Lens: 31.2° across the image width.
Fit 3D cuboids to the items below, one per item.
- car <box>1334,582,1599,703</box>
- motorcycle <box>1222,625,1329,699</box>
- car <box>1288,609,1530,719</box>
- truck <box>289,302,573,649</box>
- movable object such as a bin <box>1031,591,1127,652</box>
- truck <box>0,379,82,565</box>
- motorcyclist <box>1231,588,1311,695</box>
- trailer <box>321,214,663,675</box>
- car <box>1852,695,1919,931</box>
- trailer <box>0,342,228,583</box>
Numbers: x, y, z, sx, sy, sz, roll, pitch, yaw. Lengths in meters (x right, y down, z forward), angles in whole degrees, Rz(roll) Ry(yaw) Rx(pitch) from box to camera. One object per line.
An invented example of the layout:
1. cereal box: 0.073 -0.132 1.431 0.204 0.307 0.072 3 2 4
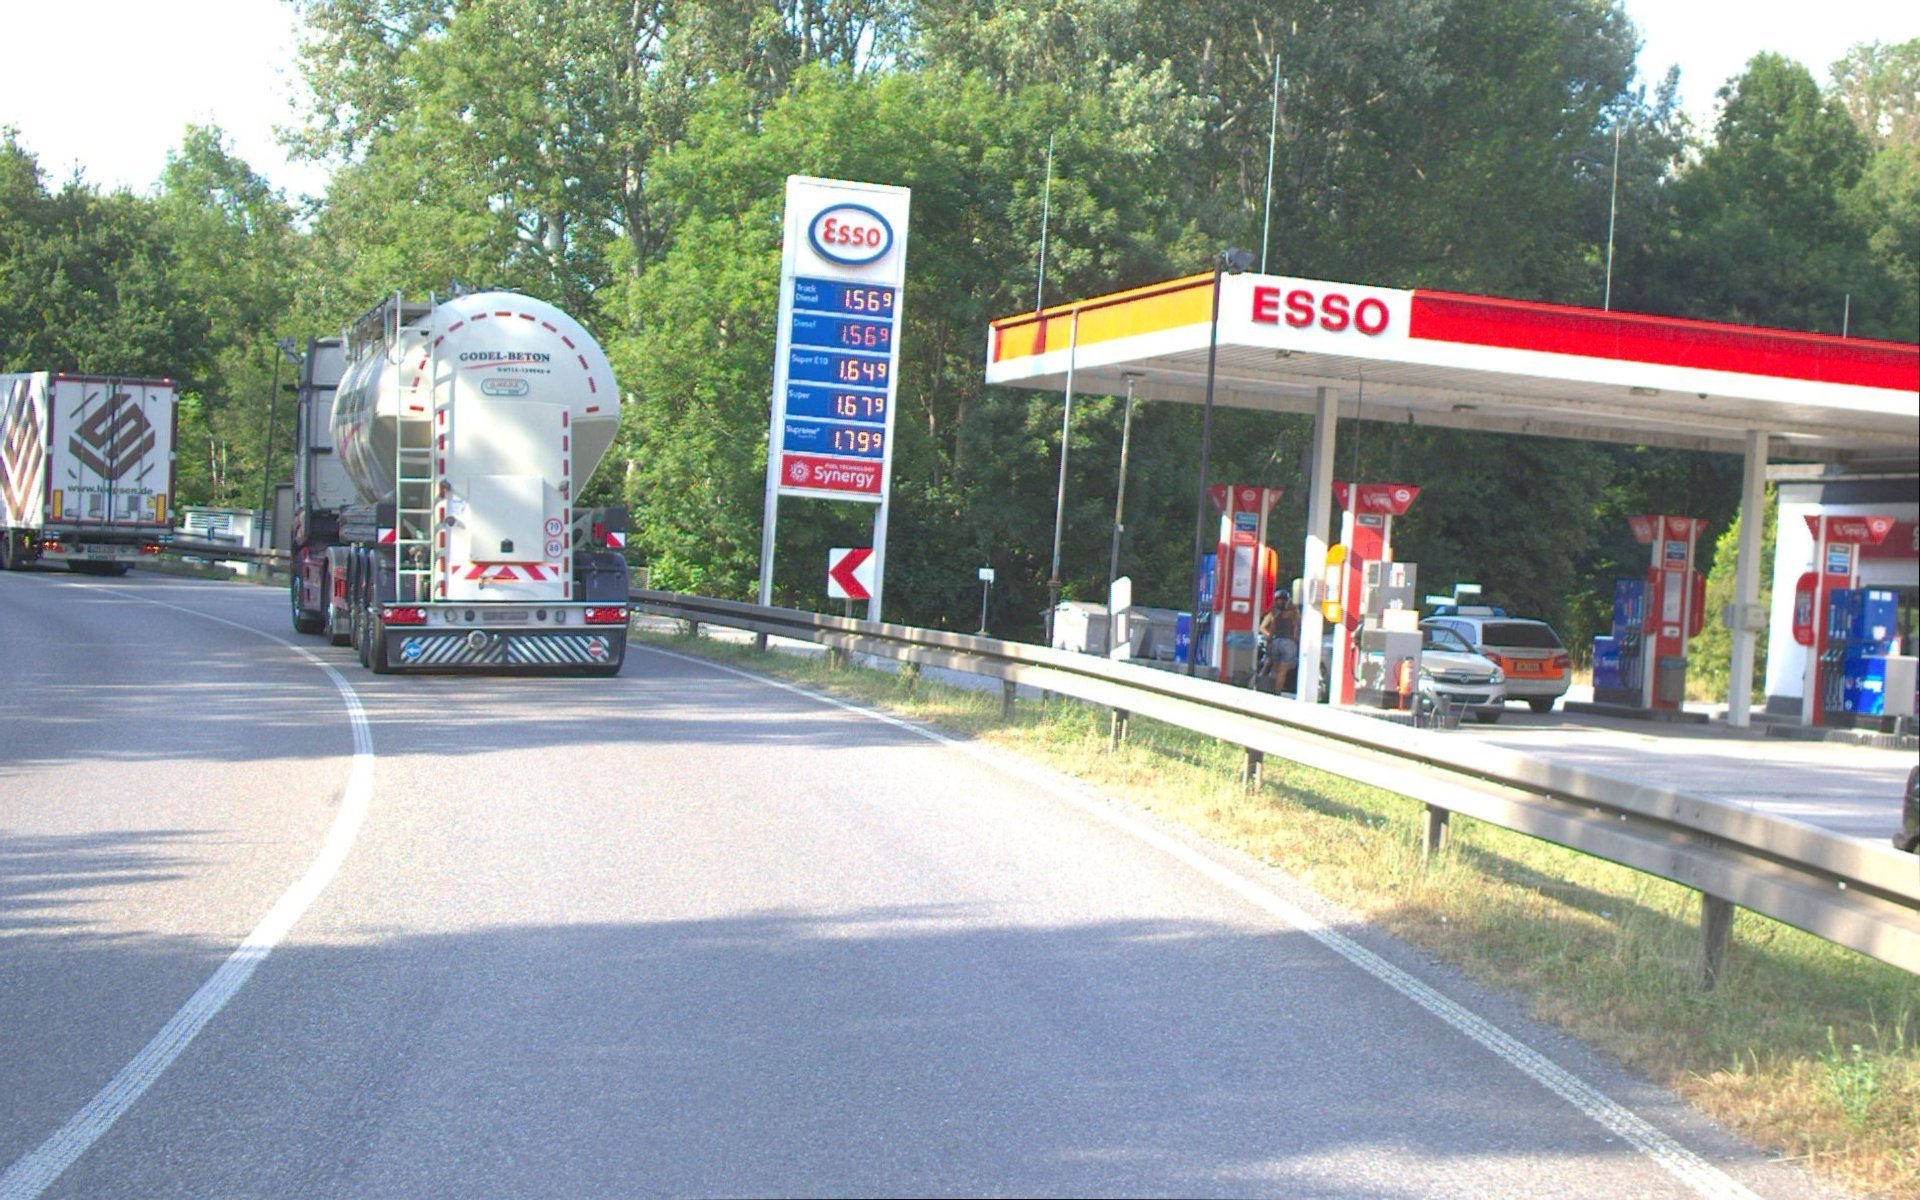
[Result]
1. car: 8.105 0.647 55.549 2.091 1.622 5.182 3 1 -18
2. motorcycle: 4.897 0.955 53.494 0.761 1.008 2.342 3 1 -17
3. car: 6.505 0.909 50.318 1.842 1.315 4.391 3 1 -16
4. truck: -6.770 -1.516 43.308 2.823 4.021 5.896 1 1 -15
5. movable object such as a bin: 3.199 0.581 92.695 1.266 1.415 2.558 6 -1 -31
6. truck: -23.123 -3.040 79.485 3.450 4.072 6.491 3 1 -32
7. motorcyclist: 4.854 0.643 53.724 0.858 1.599 0.928 4 0 -17
8. trailer: -5.429 -1.594 38.259 2.886 4.439 9.609 1 1 -13
9. car: 6.772 1.365 19.467 1.823 1.348 4.273 3 1 -7
10. trailer: -19.365 -2.929 72.921 3.545 4.497 12.986 3 1 -30
